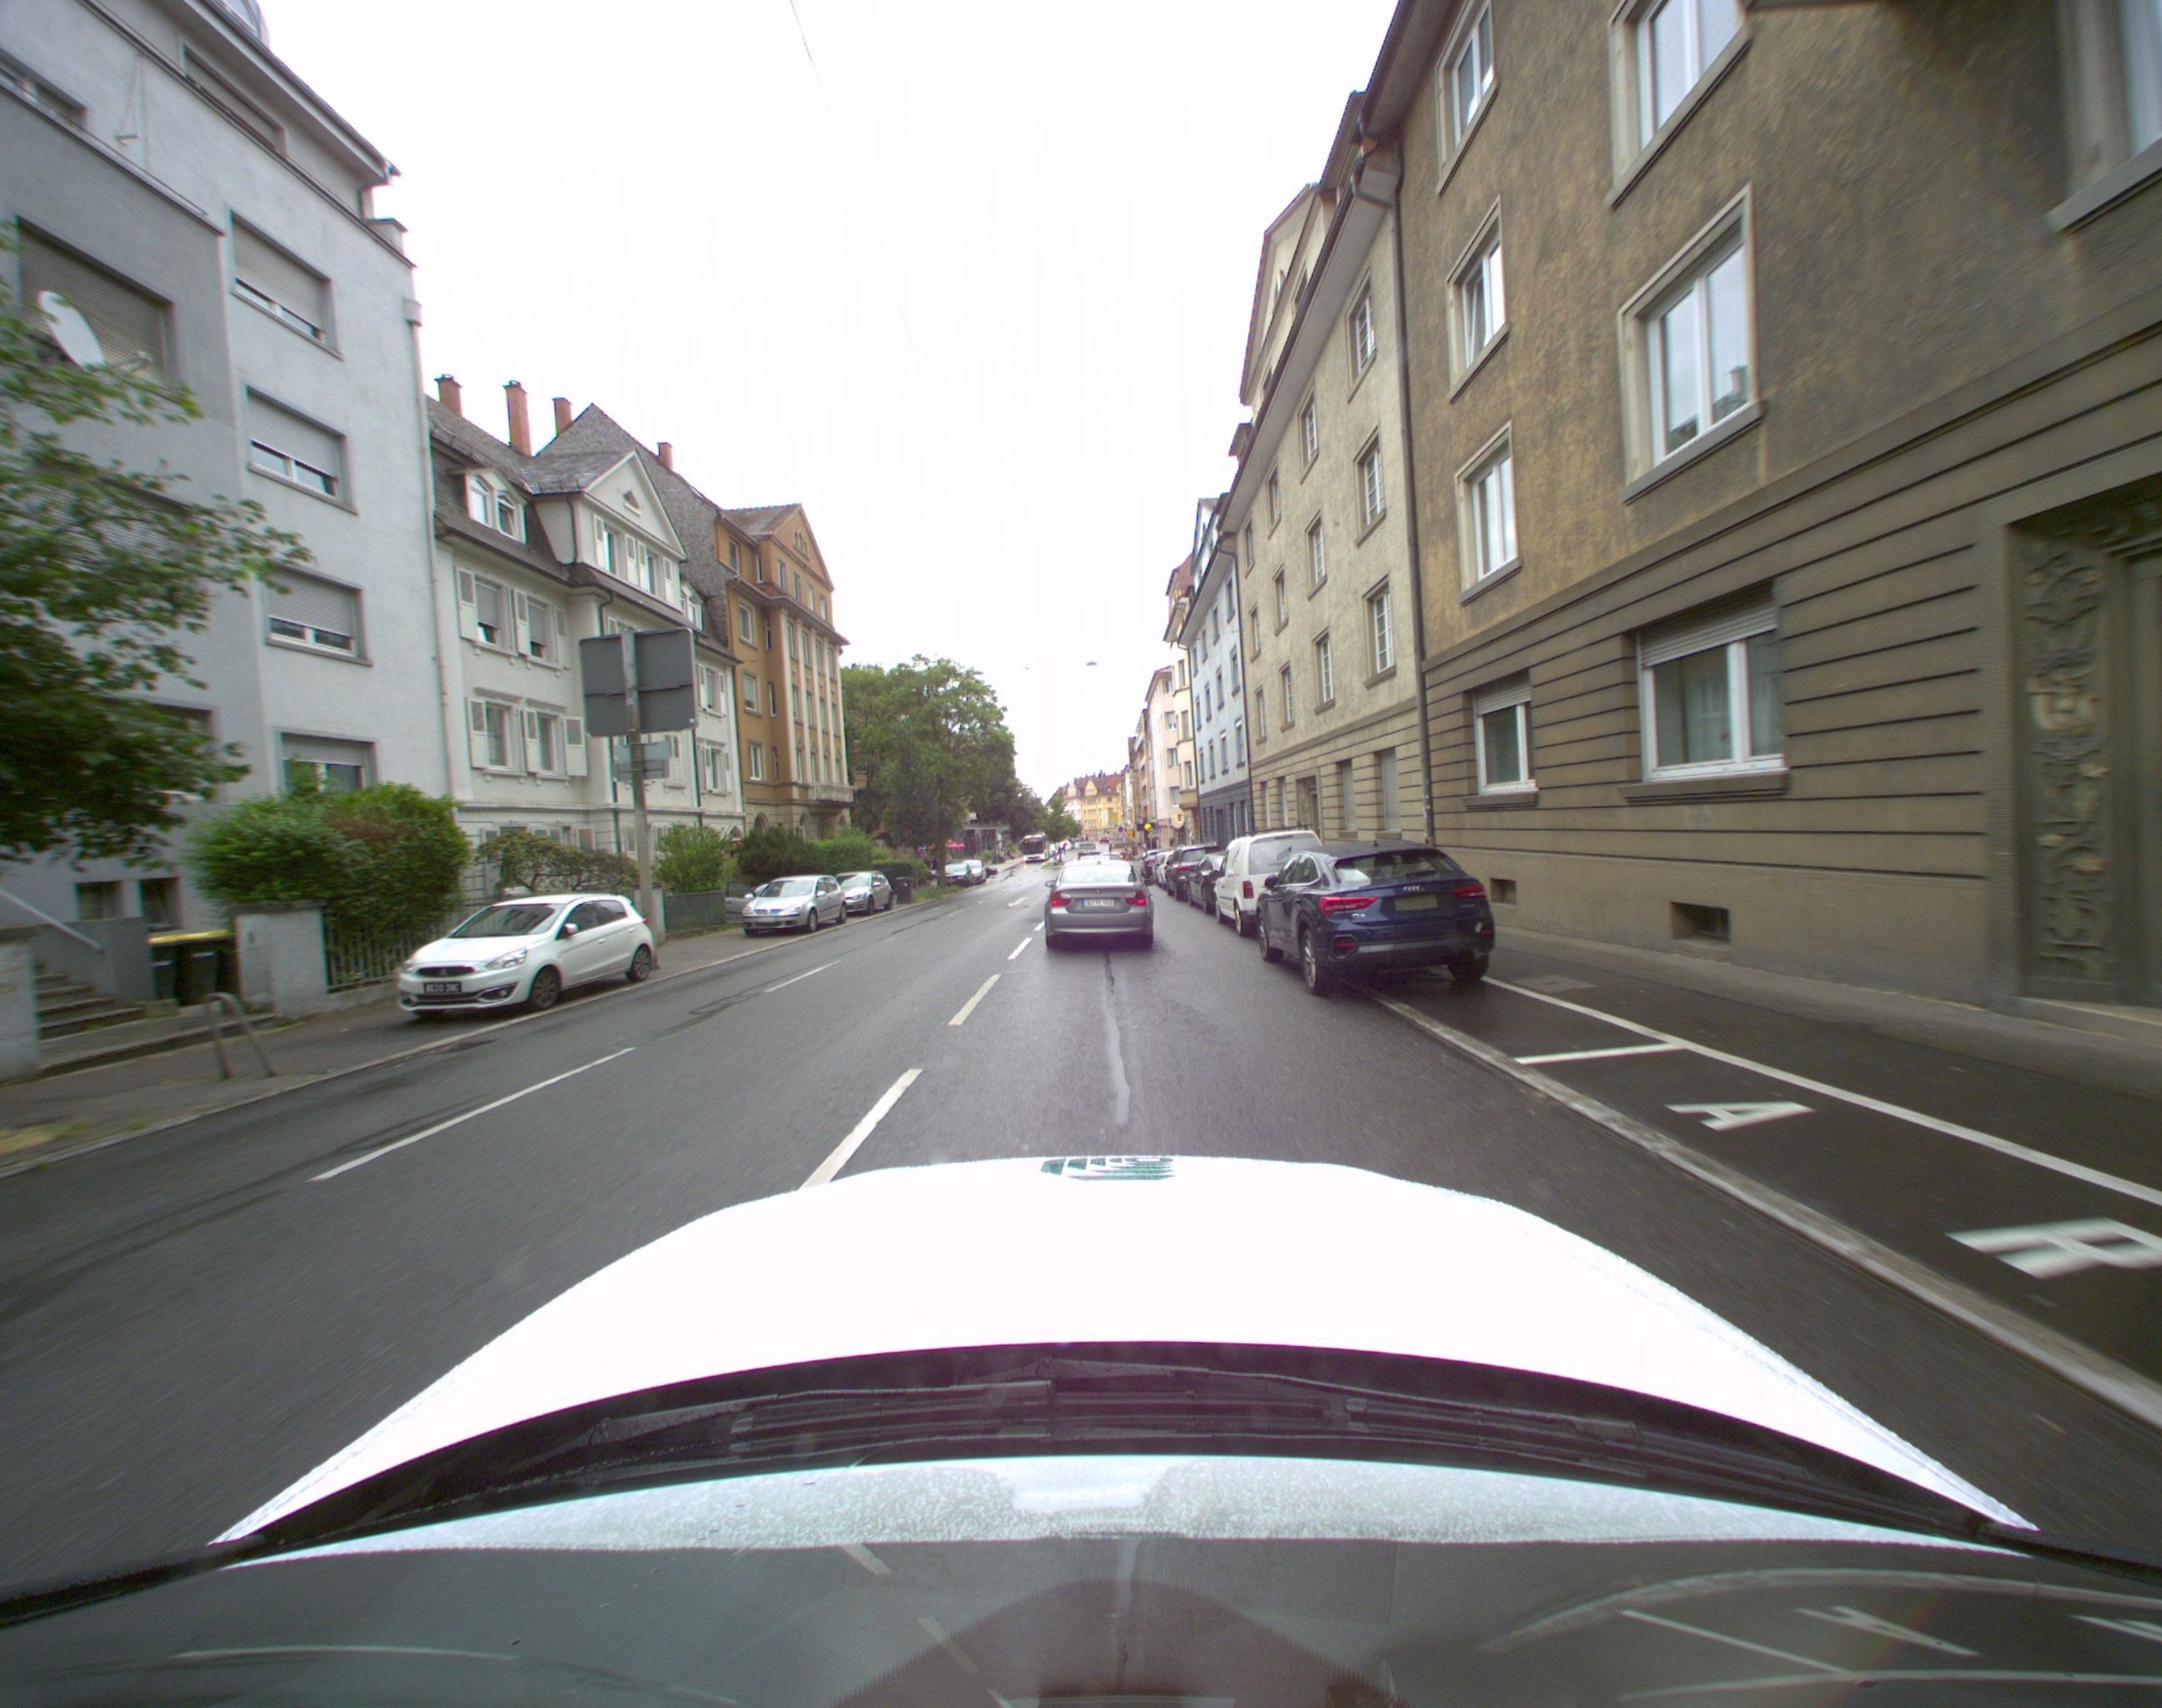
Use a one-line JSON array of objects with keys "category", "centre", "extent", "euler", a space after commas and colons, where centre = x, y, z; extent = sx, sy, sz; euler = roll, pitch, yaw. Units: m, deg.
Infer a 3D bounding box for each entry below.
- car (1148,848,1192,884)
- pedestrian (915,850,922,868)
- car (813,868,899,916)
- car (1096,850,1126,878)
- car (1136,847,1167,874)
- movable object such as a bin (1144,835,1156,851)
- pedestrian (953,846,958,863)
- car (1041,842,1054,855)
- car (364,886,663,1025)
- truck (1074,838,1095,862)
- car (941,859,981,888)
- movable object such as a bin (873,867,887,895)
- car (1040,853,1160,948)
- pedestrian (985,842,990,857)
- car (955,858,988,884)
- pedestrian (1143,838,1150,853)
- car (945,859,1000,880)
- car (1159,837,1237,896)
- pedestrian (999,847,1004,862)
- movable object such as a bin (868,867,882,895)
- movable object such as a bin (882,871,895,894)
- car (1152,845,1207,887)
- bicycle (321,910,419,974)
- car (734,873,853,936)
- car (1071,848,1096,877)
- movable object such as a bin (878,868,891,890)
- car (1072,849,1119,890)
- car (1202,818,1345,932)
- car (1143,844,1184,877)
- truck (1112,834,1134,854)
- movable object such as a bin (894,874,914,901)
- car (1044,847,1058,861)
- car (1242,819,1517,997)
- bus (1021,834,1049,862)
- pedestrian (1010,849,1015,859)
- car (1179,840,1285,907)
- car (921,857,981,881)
[{"category": "car", "centre": [4.080, 0.525, 37.858], "extent": [1.577, 1.429, 3.596], "euler": [-6, 0, 1]}, {"category": "pedestrian", "centre": [-16.572, 0.515, 83.010], "extent": [0.634, 1.816, 0.635], "euler": [-4, 1, -11]}, {"category": "car", "centre": [-7.630, 1.248, 27.957], "extent": [1.676, 1.390, 3.937], "euler": [-2, 0, 2]}, {"category": "car", "centre": [1.571, 0.487, 41.765], "extent": [1.430, 1.356, 3.764], "euler": [-1, -1, 3]}, {"category": "car", "centre": [4.267, 0.379, 49.718], "extent": [1.563, 1.464, 4.090], "euler": [-5, 0, 2]}, {"category": "movable object such as a bin", "centre": [8.007, -1.297, 94.674], "extent": [1.119, 1.702, 1.433], "euler": [-4, -1, -1]}, {"category": "pedestrian", "centre": [-13.727, 0.066, 89.039], "extent": [0.464, 1.790, 0.543], "euler": [-1, -1, -6]}, {"category": "car", "centre": [-5.617, -0.878, 137.350], "extent": [1.987, 2.014, 3.999], "euler": [-1, -1, 0]}, {"category": "car", "centre": [-7.942, 1.320, 11.904], "extent": [1.641, 1.508, 3.796], "euler": [-3, -1, 0]}, {"category": "truck", "centre": [0.399, -0.435, 90.625], "extent": [2.209, 2.544, 4.779], "euler": [-1, -1, 0]}, {"category": "car", "centre": [-6.937, 1.104, 47.373], "extent": [1.649, 1.454, 3.941], "euler": [-3, 0, 0]}, {"category": "movable object such as a bin", "centre": [-9.944, 1.340, 40.296], "extent": [0.438, 1.308, 0.609], "euler": [-4, 0, 0]}, {"category": "car", "centre": [0.318, 0.718, 13.786], "extent": [1.749, 1.362, 3.165], "euler": [-2, -1, 1]}, {"category": "pedestrian", "centre": [-11.308, -0.588, 98.421], "extent": [0.542, 1.790, 0.507], "euler": [-1, -1, -8]}, {"category": "car", "centre": [-6.895, 1.048, 51.659], "extent": [1.628, 1.454, 3.836], "euler": [-3, 0, -2]}, {"category": "pedestrian", "centre": [7.306, -0.995, 91.285], "extent": [0.749, 1.661, 0.753], "euler": [-1, -1, 2]}, {"category": "car", "centre": [-8.043, 1.174, 60.696], "extent": [3.803, 1.390, 1.742], "euler": [-2, -1, 0]}, {"category": "car", "centre": [3.728, 0.391, 26.580], "extent": [1.835, 1.621, 4.208], "euler": [-5, 0, 0]}, {"category": "pedestrian", "centre": [-9.282, 0.042, 95.340], "extent": [0.542, 1.709, 0.465], "euler": [-1, -1, -6]}, {"category": "movable object such as a bin", "centre": [-9.955, 1.285, 39.388], "extent": [0.438, 1.308, 0.650], "euler": [-4, 0, 0]}, {"category": "movable object such as a bin", "centre": [-9.866, 1.474, 41.811], "extent": [0.438, 1.130, 0.657], "euler": [-4, 0, 0]}, {"category": "car", "centre": [3.959, 0.452, 33.319], "extent": [1.723, 1.429, 3.974], "euler": [-6, 0, 1]}, {"category": "bicycle", "centre": [-13.758, 1.695, 15.781], "extent": [1.416, 1.089, 0.484], "euler": [-3, 0, 1]}, {"category": "car", "centre": [-7.719, 1.300, 22.241], "extent": [1.676, 1.390, 3.911], "euler": [-3, 0, 2]}, {"category": "car", "centre": [0.157, 0.622, 59.200], "extent": [1.700, 2.014, 3.998], "euler": [-1, -1, -1]}, {"category": "movable object such as a bin", "centre": [-9.918, 1.257, 41.053], "extent": [0.425, 1.040, 0.650], "euler": [-4, 0, 0]}, {"category": "car", "centre": [0.496, 0.562, 30.311], "extent": [1.597, 1.420, 3.286], "euler": [-1, -1, -1]}, {"category": "car", "centre": [3.618, 0.353, 16.071], "extent": [1.784, 1.817, 4.081], "euler": [-5, 0, 1]}, {"category": "car", "centre": [4.402, 0.310, 43.959], "extent": [1.811, 1.557, 4.295], "euler": [-5, 0, 2]}, {"category": "truck", "centre": [4.497, -1.063, 87.486], "extent": [2.207, 2.117, 4.654], "euler": [0, 0, 2]}, {"category": "movable object such as a bin", "centre": [-7.200, 1.352, 33.144], "extent": [0.627, 1.058, 0.600], "euler": [-4, -1, 1]}, {"category": "car", "centre": [-4.454, 0.083, 121.201], "extent": [1.987, 2.014, 3.999], "euler": [-1, -1, 0]}, {"category": "car", "centre": [3.255, 0.500, 9.858], "extent": [1.784, 1.548, 4.227], "euler": [-5, 0, 2]}, {"category": "bus", "centre": [-5.599, -0.653, 101.107], "extent": [2.672, 3.200, 11.954], "euler": [-1, -1, 0]}, {"category": "pedestrian", "centre": [-9.340, 0.050, 110.960], "extent": [0.617, 1.378, 0.545], "euler": [-1, -1, 2]}, {"category": "car", "centre": [3.796, 0.452, 21.240], "extent": [1.835, 1.409, 4.387], "euler": [-6, 0, 0]}, {"category": "car", "centre": [-9.219, 1.080, 57.790], "extent": [3.800, 1.389, 1.744], "euler": [-4, 1, 3]}]
